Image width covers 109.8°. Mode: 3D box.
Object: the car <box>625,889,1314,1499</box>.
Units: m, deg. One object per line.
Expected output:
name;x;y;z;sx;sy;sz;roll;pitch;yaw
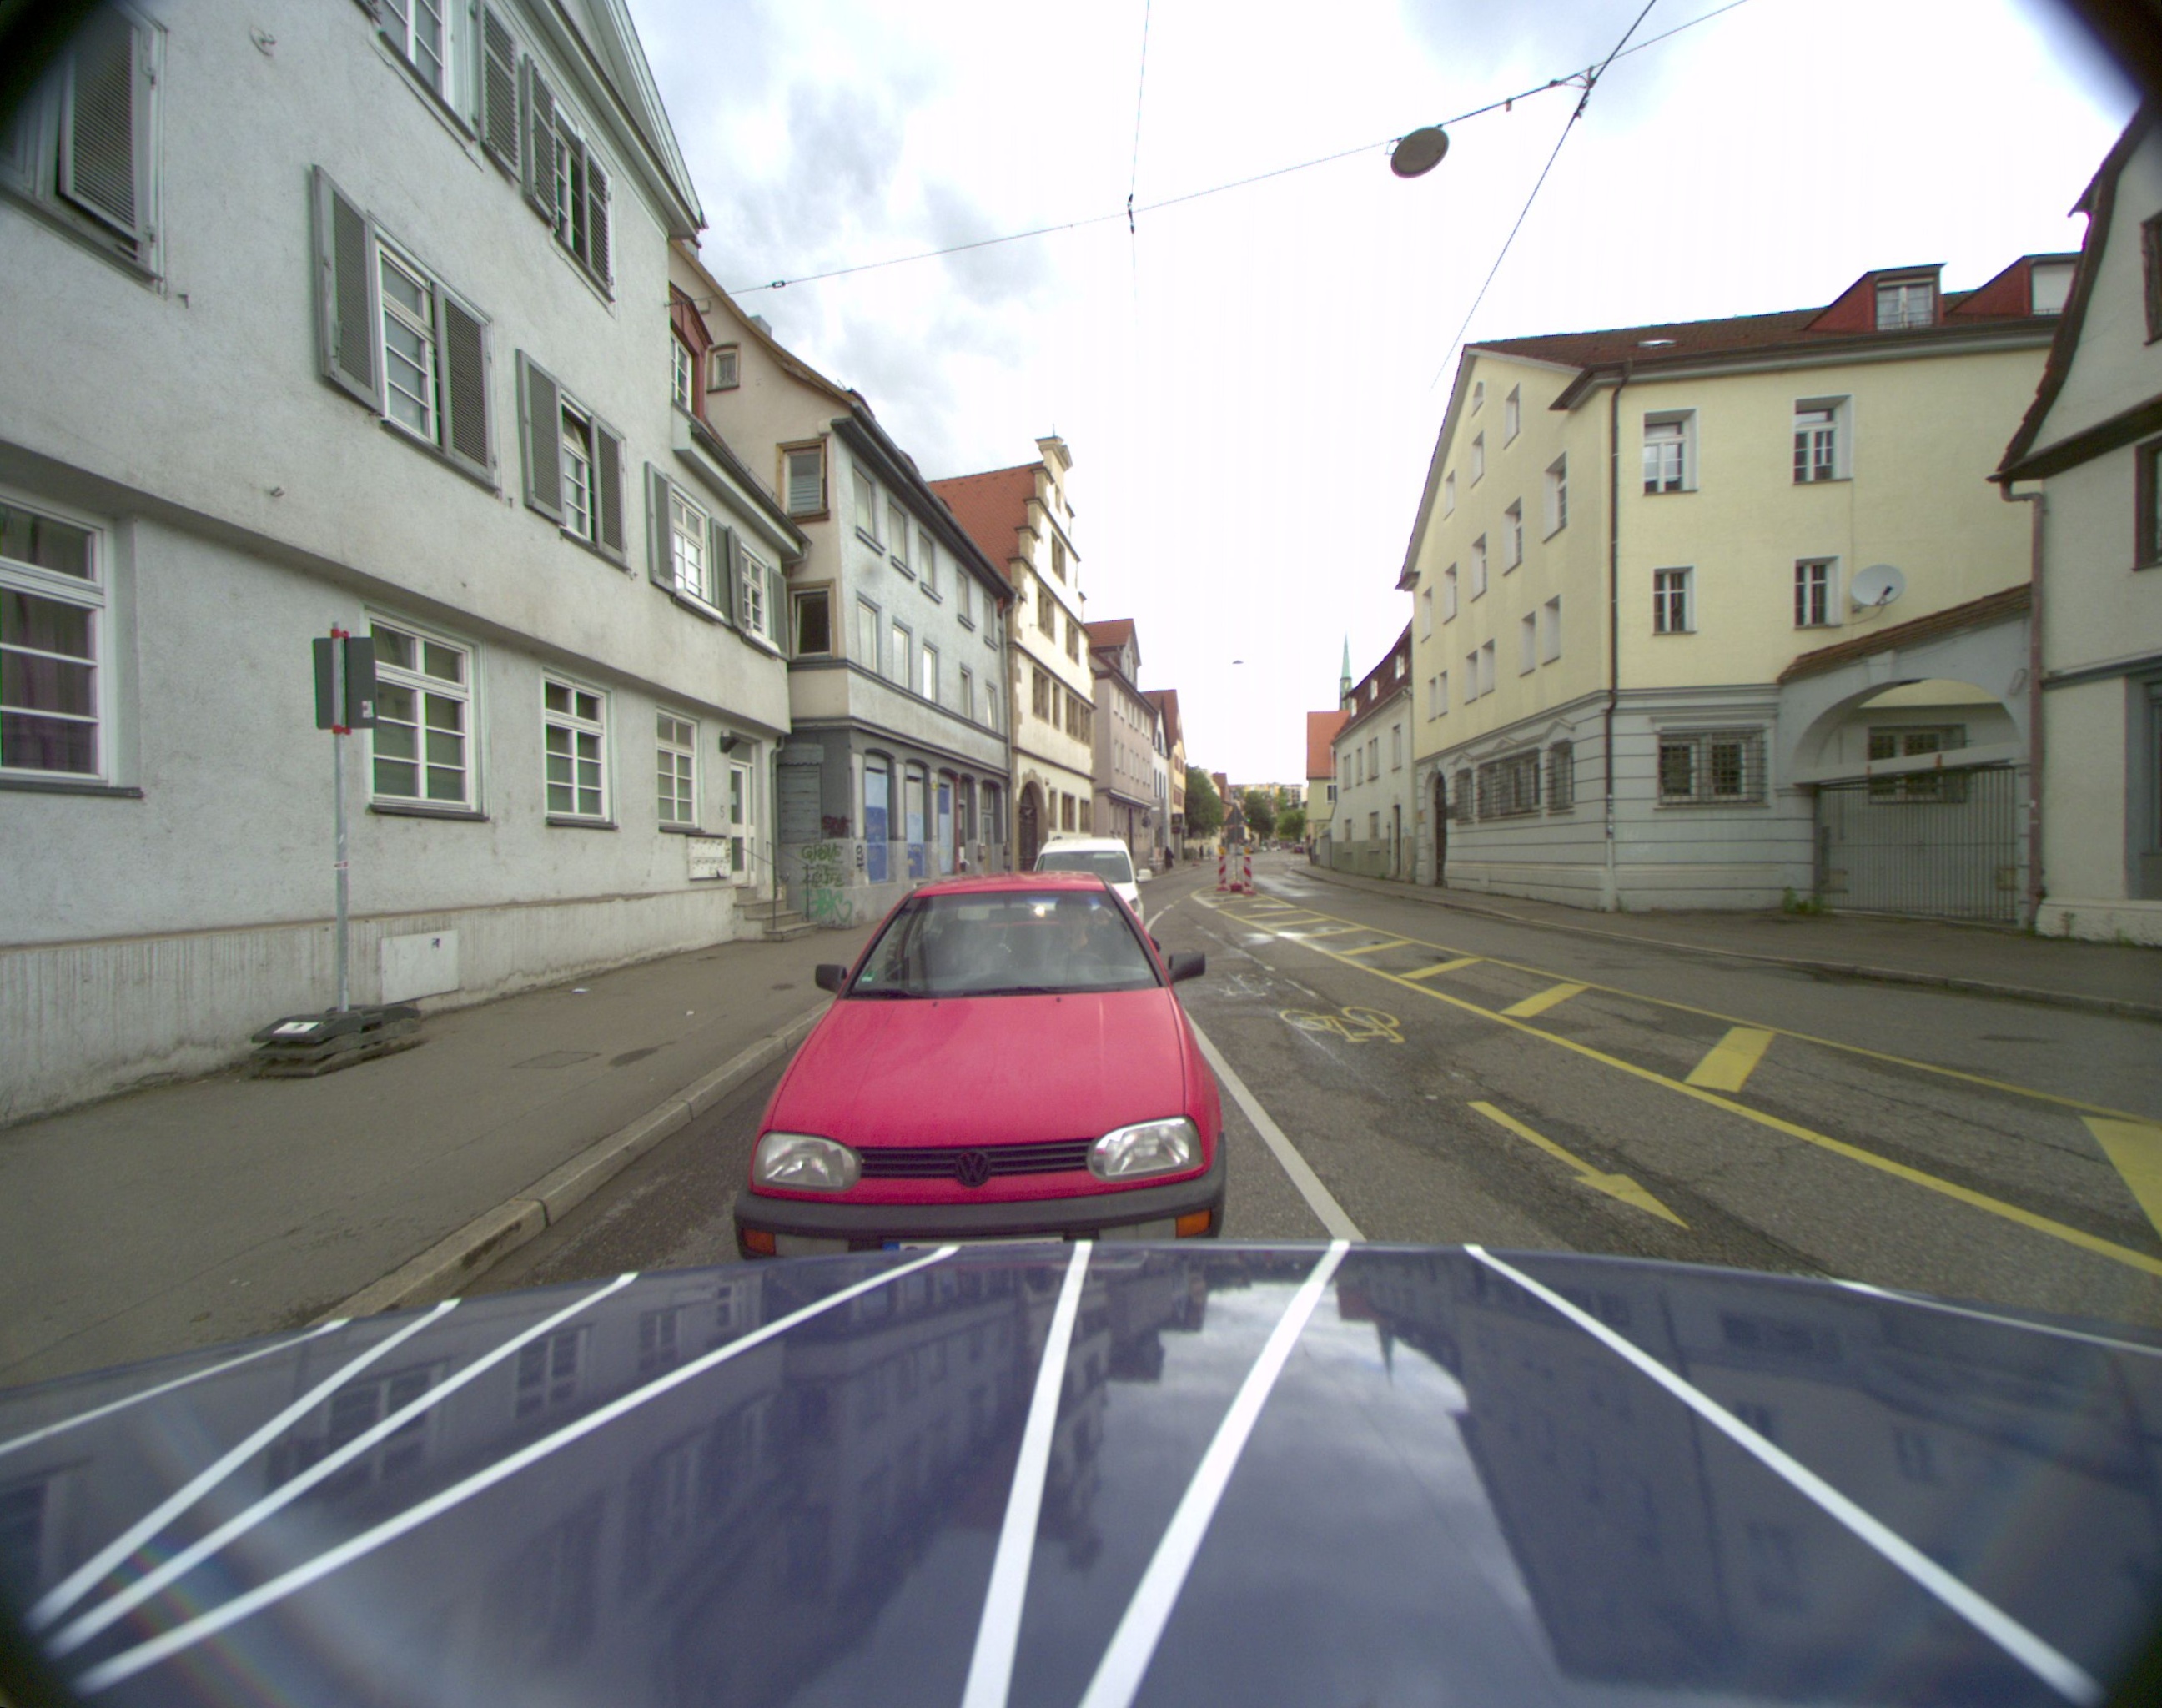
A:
car;-0.293;0.996;4.017;1.792;1.417;4.000;-1;0;0

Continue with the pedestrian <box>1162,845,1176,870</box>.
pedestrian;5.698;0.224;49.081;0.725;1.603;0.649;-2;-1;15

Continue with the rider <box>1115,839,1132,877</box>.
rider;2.068;0.182;37.075;0.719;1.837;0.798;0;1;11

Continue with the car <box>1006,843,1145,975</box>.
car;0.016;0.695;12.163;1.814;1.695;4.256;-1;1;2

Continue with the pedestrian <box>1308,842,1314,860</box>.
pedestrian;22.160;-0.276;73.218;0.592;1.769;0.505;0;1;14

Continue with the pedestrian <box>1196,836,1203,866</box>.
pedestrian;9.996;-0.220;63.910;0.495;2.513;0.746;-1;1;12
